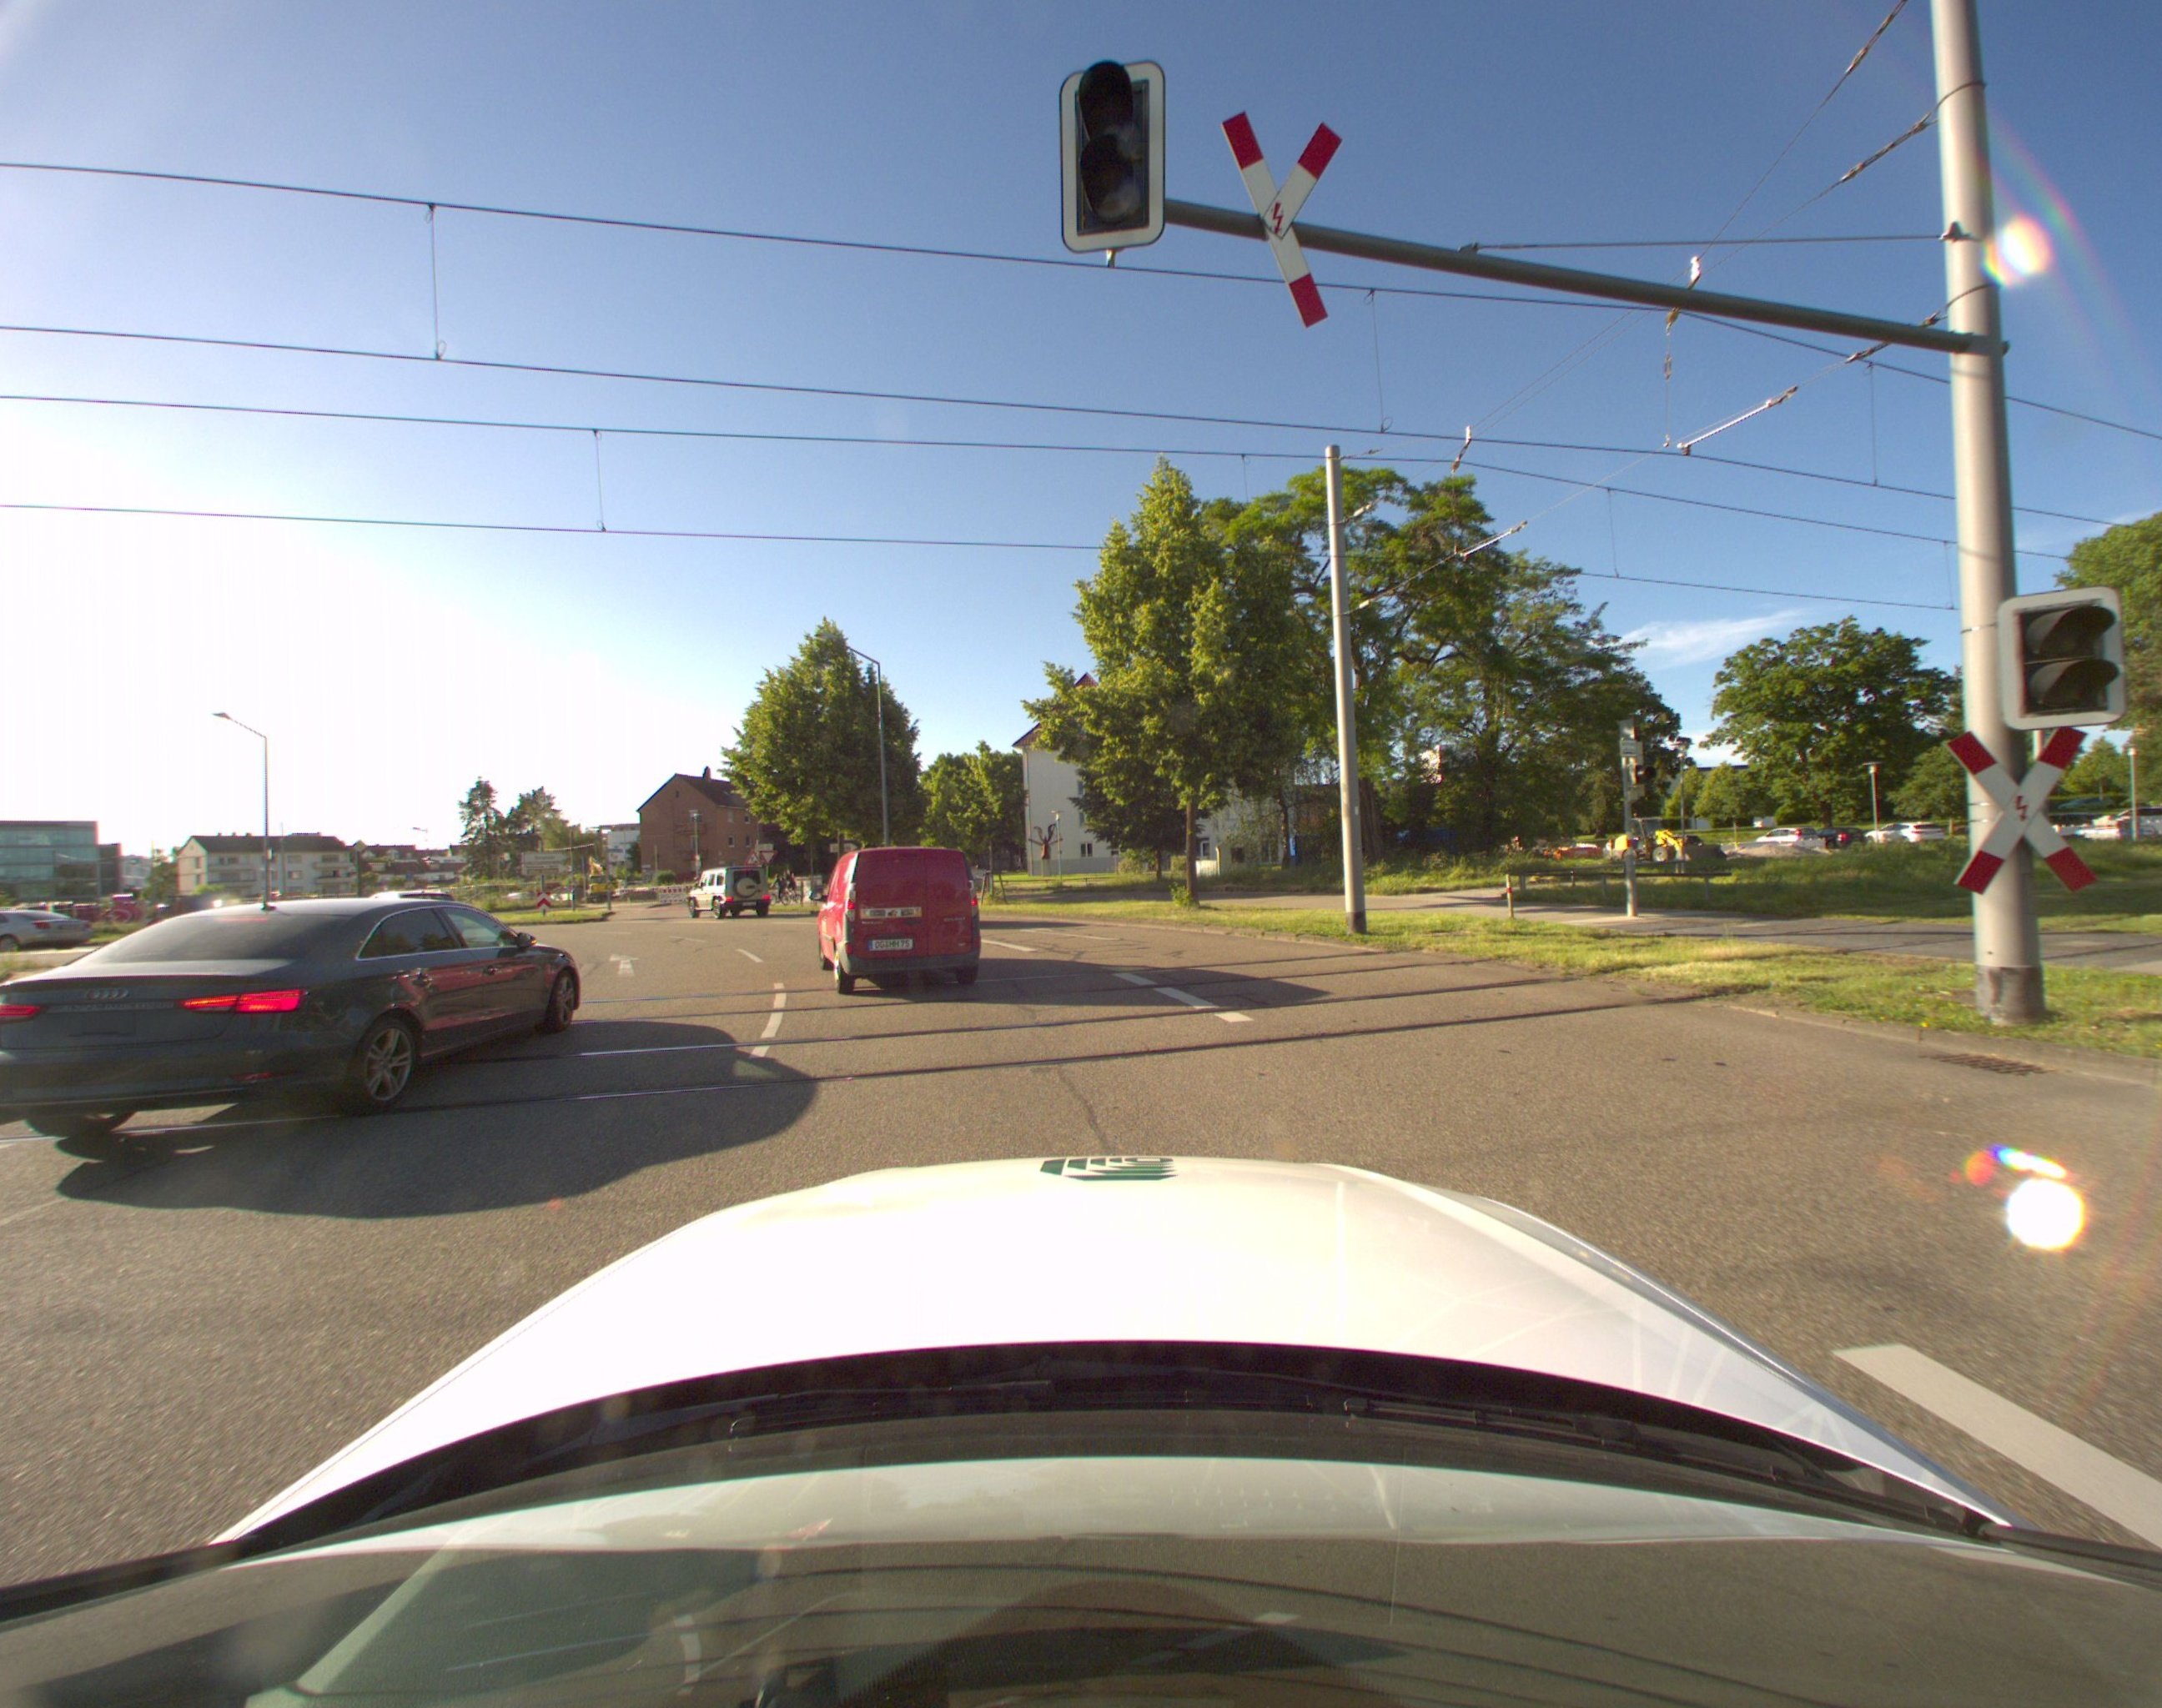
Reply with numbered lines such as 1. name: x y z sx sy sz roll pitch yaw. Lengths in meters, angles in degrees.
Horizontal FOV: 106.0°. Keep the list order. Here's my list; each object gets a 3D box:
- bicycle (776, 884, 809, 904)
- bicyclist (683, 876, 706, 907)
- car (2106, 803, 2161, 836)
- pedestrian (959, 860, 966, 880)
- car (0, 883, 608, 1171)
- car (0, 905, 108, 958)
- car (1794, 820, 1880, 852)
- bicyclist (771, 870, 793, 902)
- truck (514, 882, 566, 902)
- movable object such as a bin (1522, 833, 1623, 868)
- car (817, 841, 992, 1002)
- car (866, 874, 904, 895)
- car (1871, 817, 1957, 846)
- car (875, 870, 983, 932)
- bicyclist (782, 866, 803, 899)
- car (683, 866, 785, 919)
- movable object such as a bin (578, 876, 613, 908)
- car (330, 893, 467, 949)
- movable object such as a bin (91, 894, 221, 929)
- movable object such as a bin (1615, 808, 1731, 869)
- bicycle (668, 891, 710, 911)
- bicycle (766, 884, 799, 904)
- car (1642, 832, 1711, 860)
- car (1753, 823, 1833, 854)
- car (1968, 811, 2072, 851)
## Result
1. bicycle: -15.793 2.169 44.548 1.800 1.028 0.664 -3 -2 29
2. bicyclist: -22.006 2.137 46.374 0.849 1.680 0.742 -2 1 -3
3. car: 65.015 -2.114 49.223 1.678 1.779 3.859 -2 -2 11
4. pedestrian: -12.083 1.656 83.247 0.466 2.013 0.457 -3 -1 17
5. car: -5.672 1.005 6.544 1.760 1.380 4.344 -2 0 -9
6. car: -36.672 2.688 27.709 4.387 1.575 1.996 -3 0 -5
7. car: 47.764 -1.079 51.554 1.982 1.769 4.008 -2 -2 8
8. bicyclist: -15.917 1.676 43.295 0.888 1.665 0.664 -3 -3 32
9. truck: -58.585 4.165 88.124 6.353 2.014 2.185 -3 -3 31
10. movable object such as a bin: 30.991 -0.201 51.504 4.989 1.948 2.239 -1 -2 0
11. car: -2.615 0.803 11.365 1.809 1.813 3.782 -1 -1 -21
12. car: -18.771 2.934 78.201 1.980 1.872 4.012 -2 -2 11
13. car: 51.879 -1.363 50.810 1.816 1.556 3.816 -2 -2 10
14. car: -4.204 1.234 22.018 1.724 1.436 4.114 -1 -2 -28
15. bicyclist: -15.772 1.552 44.532 0.802 1.730 0.658 -4 -2 29
16. car: -13.676 1.512 31.953 2.015 1.897 4.693 -1 -2 -45
17. movable object such as a bin: -44.484 3.506 74.543 2.438 2.774 3.955 0 -3 -36
18. car: -20.191 1.928 24.088 3.761 1.461 1.819 -2 -1 28
19. movable object such as a bin: -90.381 5.598 79.748 2.905 2.782 7.983 -3 -1 31
20. movable object such as a bin: 29.999 -0.688 41.544 1.989 2.789 5.042 -1 -2 -3
21. bicycle: -22.329 2.683 46.380 1.999 1.027 0.742 -2 1 -3
22. bicycle: -15.888 2.136 43.284 1.800 1.028 0.664 -3 -3 32
23. car: 38.102 -0.486 52.257 1.909 1.557 3.959 -2 -2 8
24. car: 45.719 -0.972 52.425 1.982 1.723 4.008 -2 -2 8
25. car: 57.471 -1.362 49.955 1.982 2.100 4.008 -2 -2 8
